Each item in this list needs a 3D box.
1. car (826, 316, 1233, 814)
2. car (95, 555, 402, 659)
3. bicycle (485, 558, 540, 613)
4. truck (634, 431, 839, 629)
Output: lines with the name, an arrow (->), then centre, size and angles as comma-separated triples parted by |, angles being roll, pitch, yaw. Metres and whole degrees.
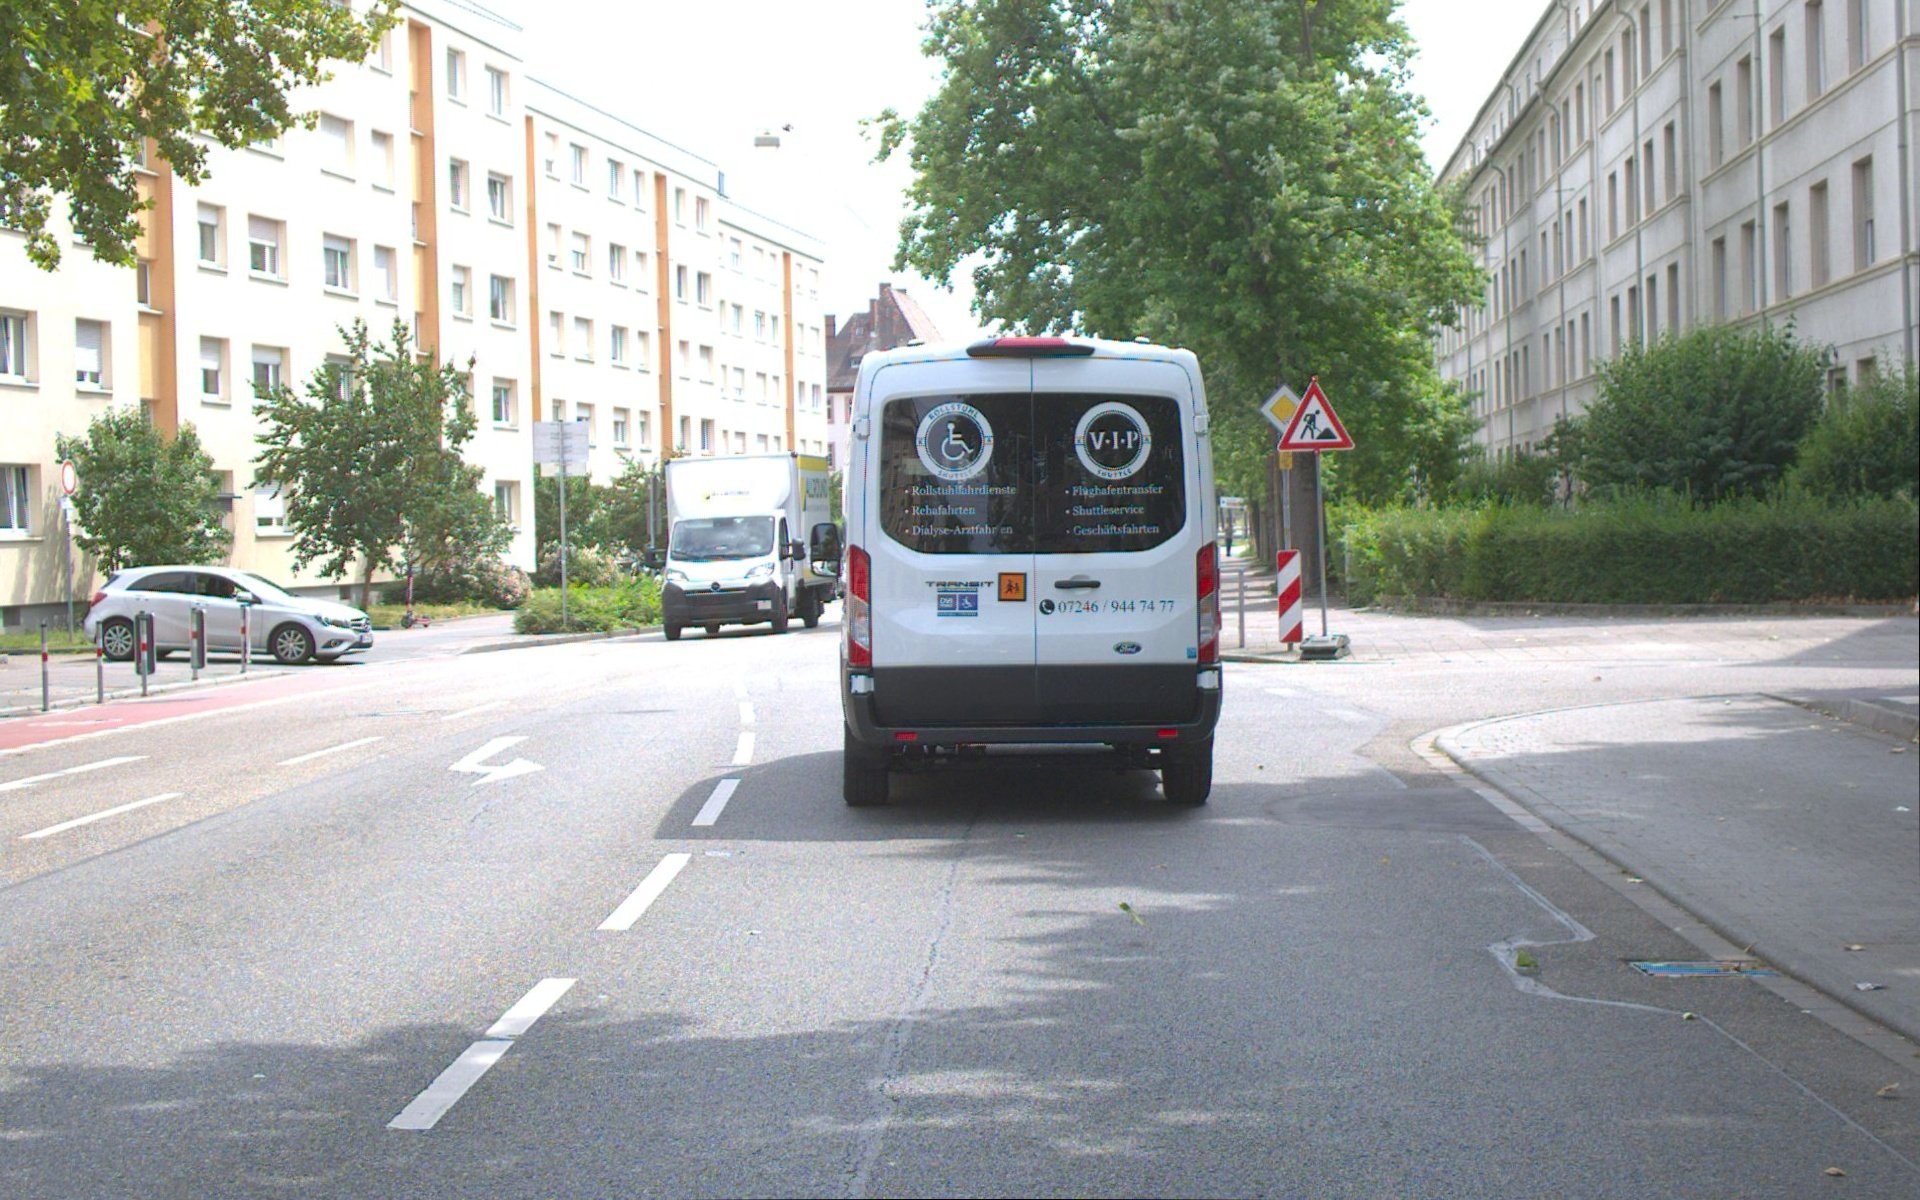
car -> 0.461, -0.221, 19.843 | 2.070, 2.531, 4.634 | 0, 1, 3
car -> -10.765, 0.085, 52.193 | 4.172, 1.445, 1.849 | 2, 1, 6
bicycle -> -10.853, -0.351, 83.427 | 0.579, 1.247, 1.932 | -1, 2, 15
truck -> -3.793, -1.220, 59.996 | 2.541, 3.097, 7.020 | -3, 1, 3
